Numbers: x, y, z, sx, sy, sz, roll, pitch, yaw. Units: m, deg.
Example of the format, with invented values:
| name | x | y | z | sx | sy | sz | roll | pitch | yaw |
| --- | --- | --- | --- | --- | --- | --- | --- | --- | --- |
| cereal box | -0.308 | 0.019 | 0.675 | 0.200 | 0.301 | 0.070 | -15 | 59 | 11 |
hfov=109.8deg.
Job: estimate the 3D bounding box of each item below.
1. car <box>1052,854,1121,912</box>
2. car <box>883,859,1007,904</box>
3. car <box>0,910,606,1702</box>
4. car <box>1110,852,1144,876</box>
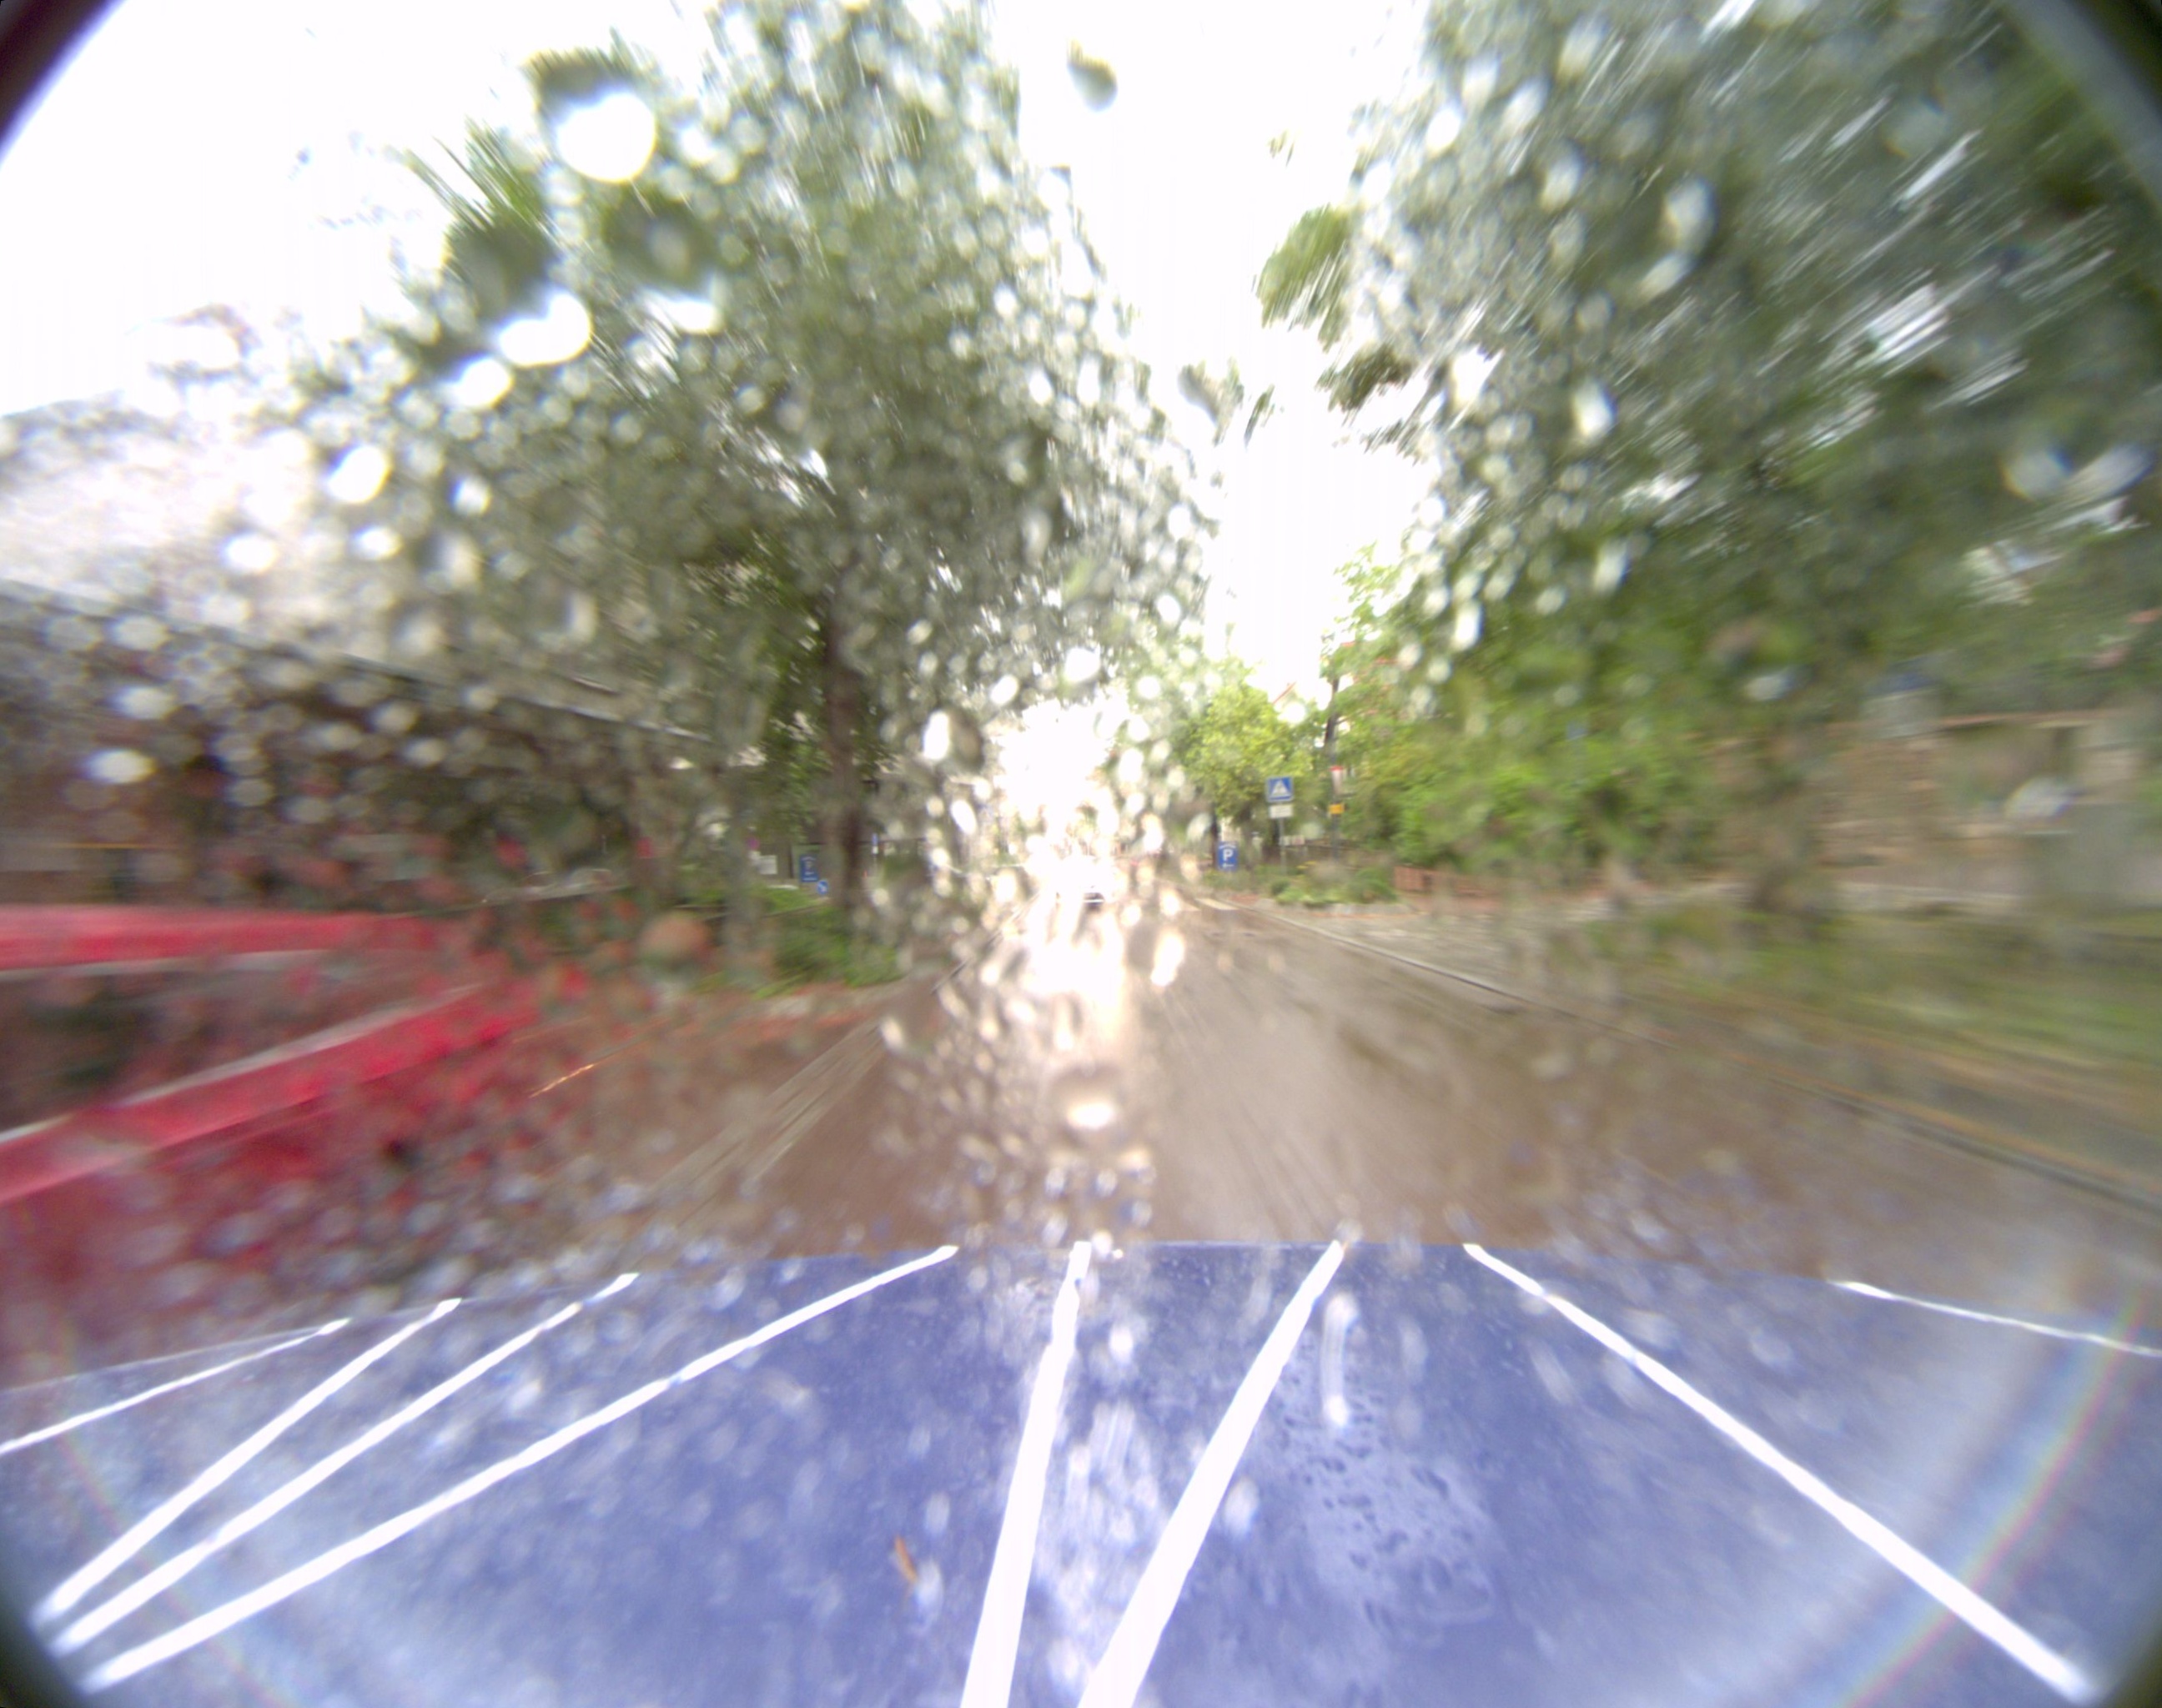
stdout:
| name | x | y | z | sx | sy | sz | roll | pitch | yaw |
| --- | --- | --- | --- | --- | --- | --- | --- | --- | --- |
| car | 0.232 | 0.798 | 22.720 | 1.828 | 1.451 | 3.875 | -3 | 0 | 3 |
| car | -5.060 | 1.001 | 28.686 | 4.270 | 1.451 | 1.829 | -3 | 0 | -1 |
| car | -3.173 | 1.003 | 0.978 | 1.896 | 1.460 | 4.824 | -1 | 0 | 3 |
| car | 2.898 | 0.620 | 48.368 | 1.828 | 1.353 | 3.874 | -3 | 0 | -1 |
